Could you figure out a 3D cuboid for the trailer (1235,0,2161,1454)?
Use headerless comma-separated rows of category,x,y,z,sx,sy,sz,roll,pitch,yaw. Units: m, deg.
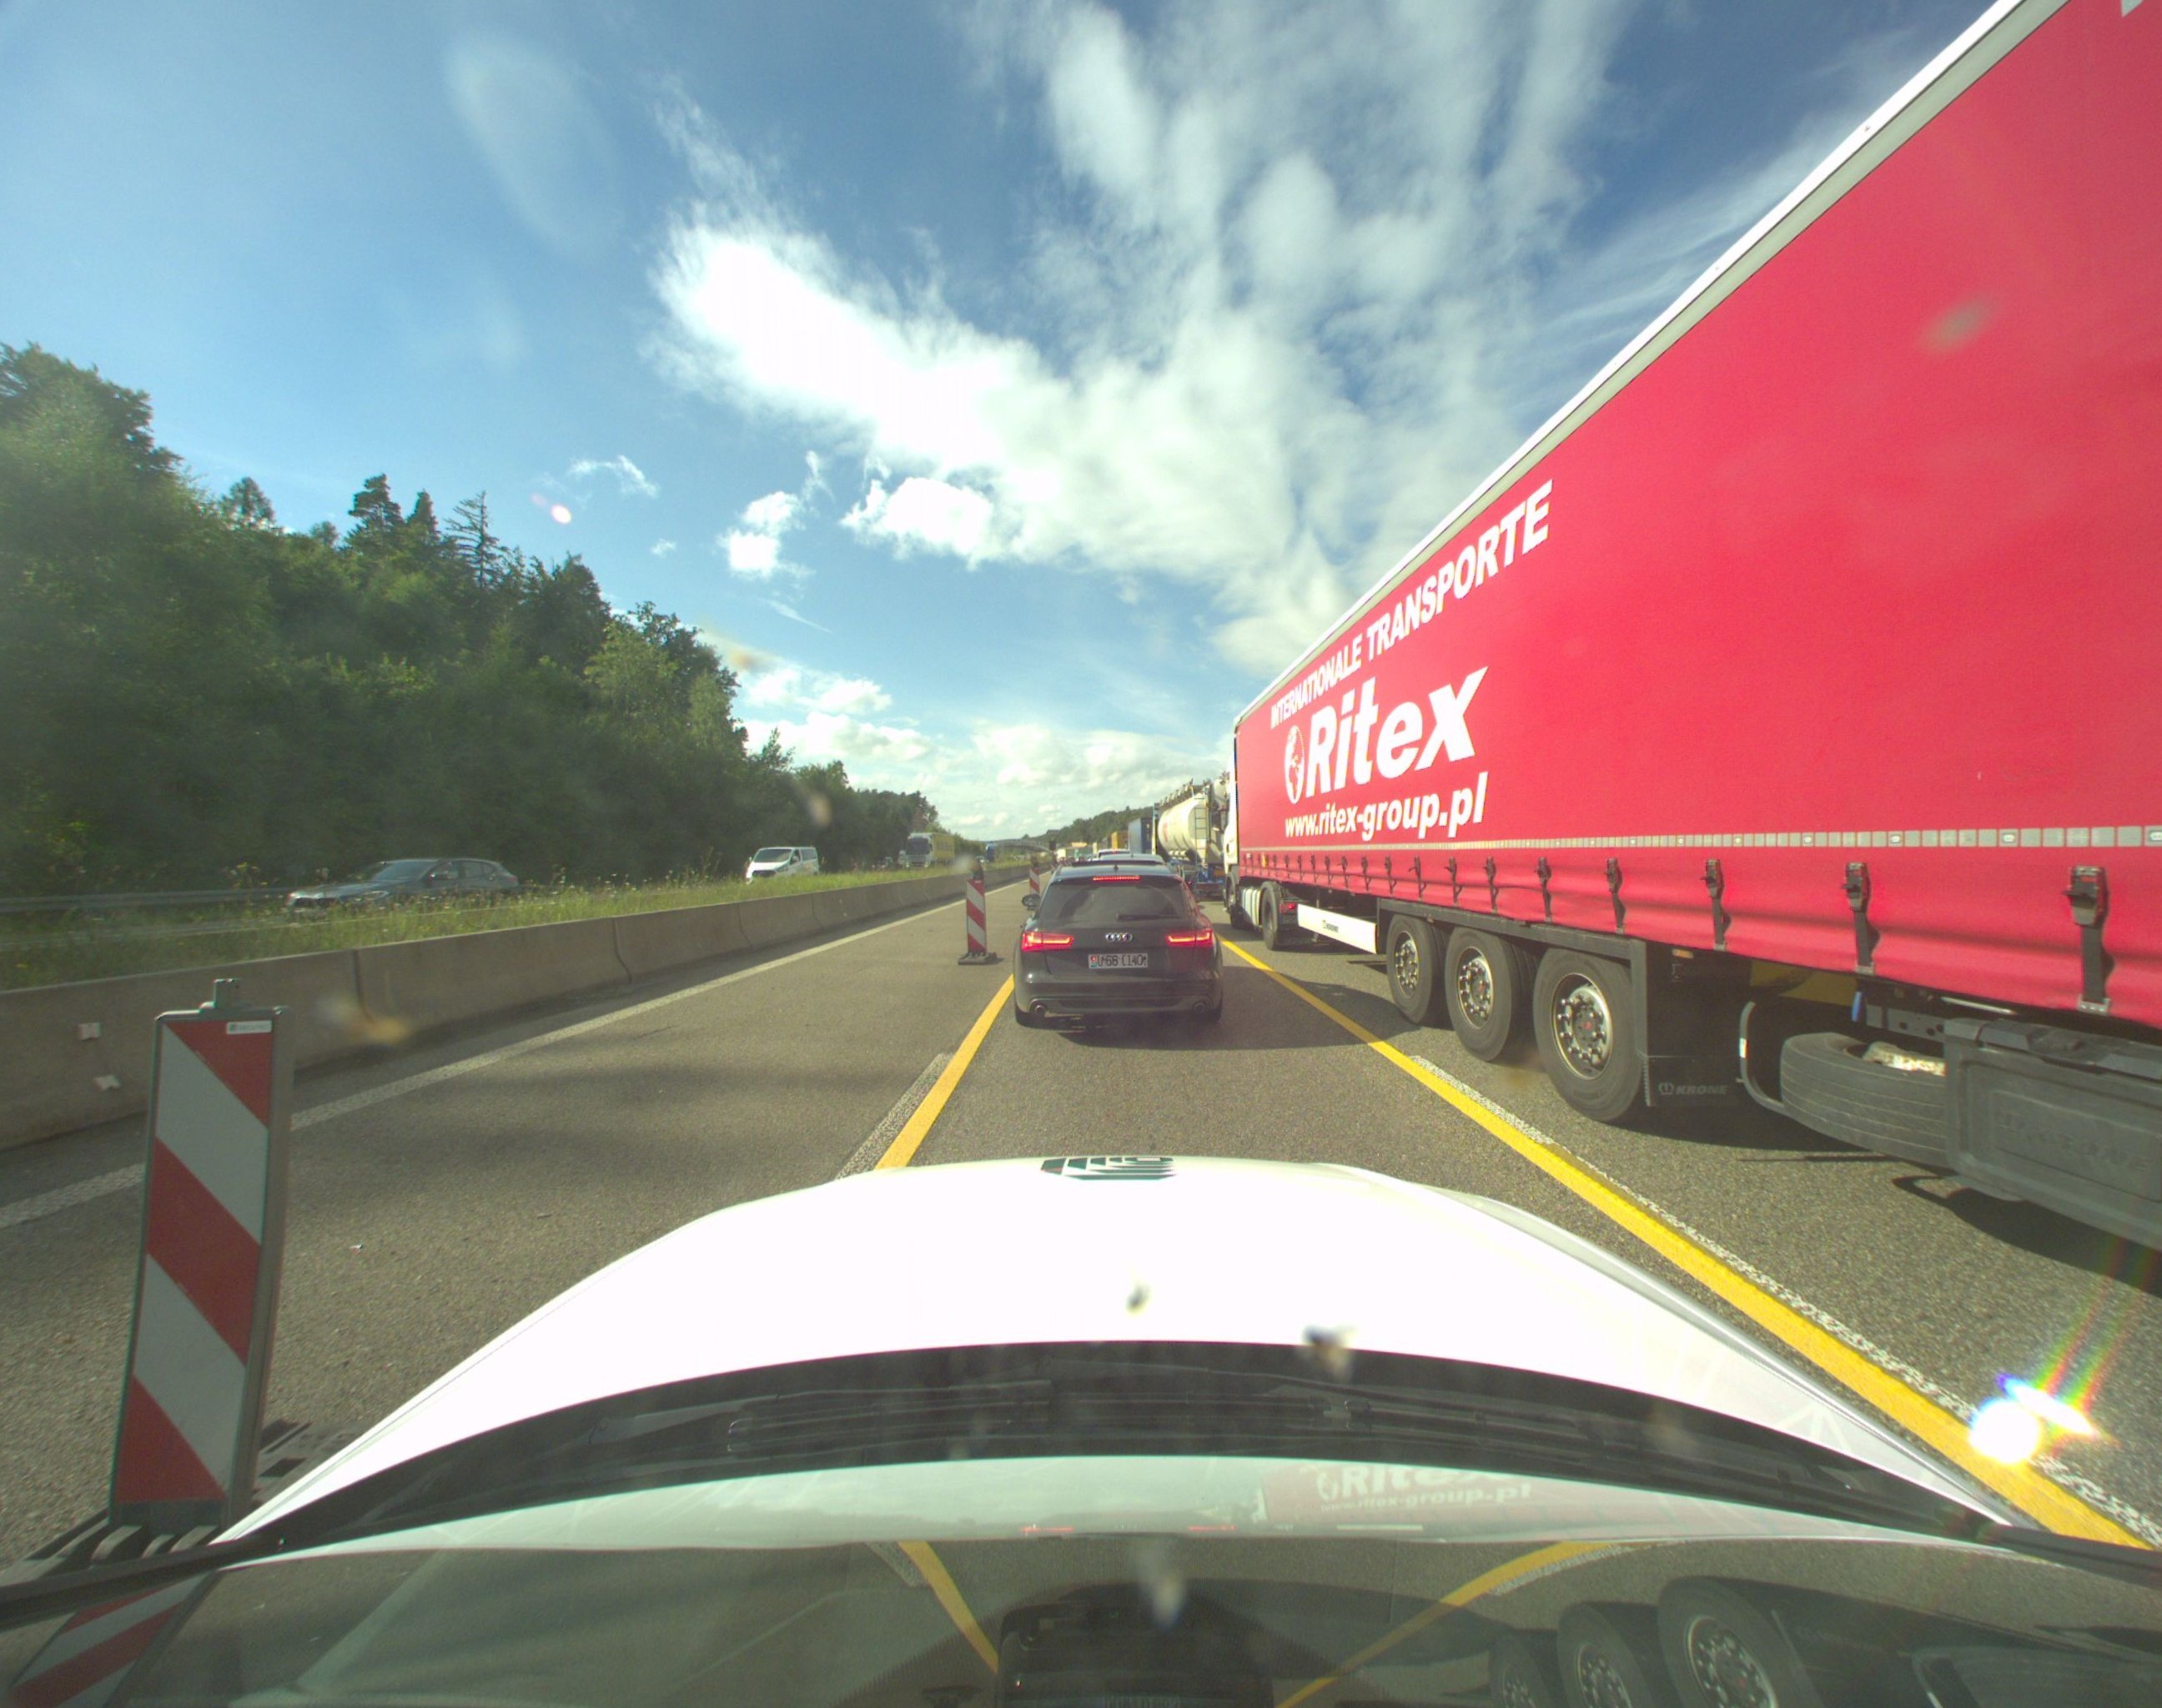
trailer,4.053,-0.557,8.261,2.690,3.969,13.420,-1,0,1

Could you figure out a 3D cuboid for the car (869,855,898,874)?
car,-21.362,1.160,88.271,1.986,2.014,4.001,0,-1,2

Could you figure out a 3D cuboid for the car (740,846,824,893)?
car,-13.770,0.691,37.811,1.986,2.014,4.833,0,-1,2

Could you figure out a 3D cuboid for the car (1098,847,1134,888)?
car,1.601,0.607,37.537,1.575,1.837,3.113,0,-1,2

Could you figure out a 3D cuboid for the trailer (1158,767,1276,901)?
trailer,4.572,-0.564,30.221,2.634,3.943,12.602,0,0,2

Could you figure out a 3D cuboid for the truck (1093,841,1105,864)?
truck,3.482,-0.247,154.466,2.130,4.257,7.073,0,-1,1

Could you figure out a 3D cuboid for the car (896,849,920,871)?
car,-20.855,0.730,98.131,2.247,2.643,5.009,0,-1,-6

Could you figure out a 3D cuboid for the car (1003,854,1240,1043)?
car,0.382,0.762,8.399,1.842,1.463,4.001,-1,-1,2

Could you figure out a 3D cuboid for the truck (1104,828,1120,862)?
truck,4.574,-1.265,121.241,1.987,4.914,9.562,-1,0,0

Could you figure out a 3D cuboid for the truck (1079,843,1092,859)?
truck,1.214,-0.785,216.849,3.293,4.175,9.700,-1,0,0

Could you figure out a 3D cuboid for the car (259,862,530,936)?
car,-14.102,0.848,17.145,1.951,1.363,4.289,0,-1,2

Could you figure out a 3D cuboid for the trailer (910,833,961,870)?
trailer,-16.190,-0.197,91.772,2.817,3.922,13.945,0,-1,2

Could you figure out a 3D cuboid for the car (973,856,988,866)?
car,-16.584,1.162,134.185,1.780,1.560,4.001,0,-1,2

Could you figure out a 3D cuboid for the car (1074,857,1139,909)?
car,0.755,0.815,24.024,1.745,1.397,3.609,0,-1,2

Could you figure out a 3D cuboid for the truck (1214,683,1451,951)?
truck,4.208,-0.551,14.976,2.658,3.959,5.711,-1,0,1

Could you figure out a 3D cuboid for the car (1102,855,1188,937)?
car,1.180,0.760,16.001,1.518,1.439,3.286,0,-1,2

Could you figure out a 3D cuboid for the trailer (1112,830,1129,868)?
trailer,4.286,-0.510,88.033,1.611,3.918,6.490,0,-1,1

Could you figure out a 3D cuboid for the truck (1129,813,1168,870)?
truck,5.434,-0.938,66.646,2.795,4.370,7.794,0,-1,2

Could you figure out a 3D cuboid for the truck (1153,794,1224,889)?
truck,4.774,-0.510,37.205,2.649,3.972,5.780,0,-1,2

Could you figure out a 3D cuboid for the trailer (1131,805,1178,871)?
trailer,5.225,-1.014,59.598,2.795,4.413,10.436,0,-1,2

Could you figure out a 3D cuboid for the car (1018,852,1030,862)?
car,-11.310,0.699,162.160,1.986,1.948,4.000,0,-1,1

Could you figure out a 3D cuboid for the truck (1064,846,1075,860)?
truck,-3.541,-0.415,249.542,3.295,4.175,9.696,-1,0,-1

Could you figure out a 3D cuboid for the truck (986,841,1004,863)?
truck,-16.841,-0.331,159.495,2.628,4.189,5.469,-1,0,2

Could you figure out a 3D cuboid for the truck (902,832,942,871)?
truck,-16.454,-0.249,84.498,2.816,3.909,5.951,0,-1,2
